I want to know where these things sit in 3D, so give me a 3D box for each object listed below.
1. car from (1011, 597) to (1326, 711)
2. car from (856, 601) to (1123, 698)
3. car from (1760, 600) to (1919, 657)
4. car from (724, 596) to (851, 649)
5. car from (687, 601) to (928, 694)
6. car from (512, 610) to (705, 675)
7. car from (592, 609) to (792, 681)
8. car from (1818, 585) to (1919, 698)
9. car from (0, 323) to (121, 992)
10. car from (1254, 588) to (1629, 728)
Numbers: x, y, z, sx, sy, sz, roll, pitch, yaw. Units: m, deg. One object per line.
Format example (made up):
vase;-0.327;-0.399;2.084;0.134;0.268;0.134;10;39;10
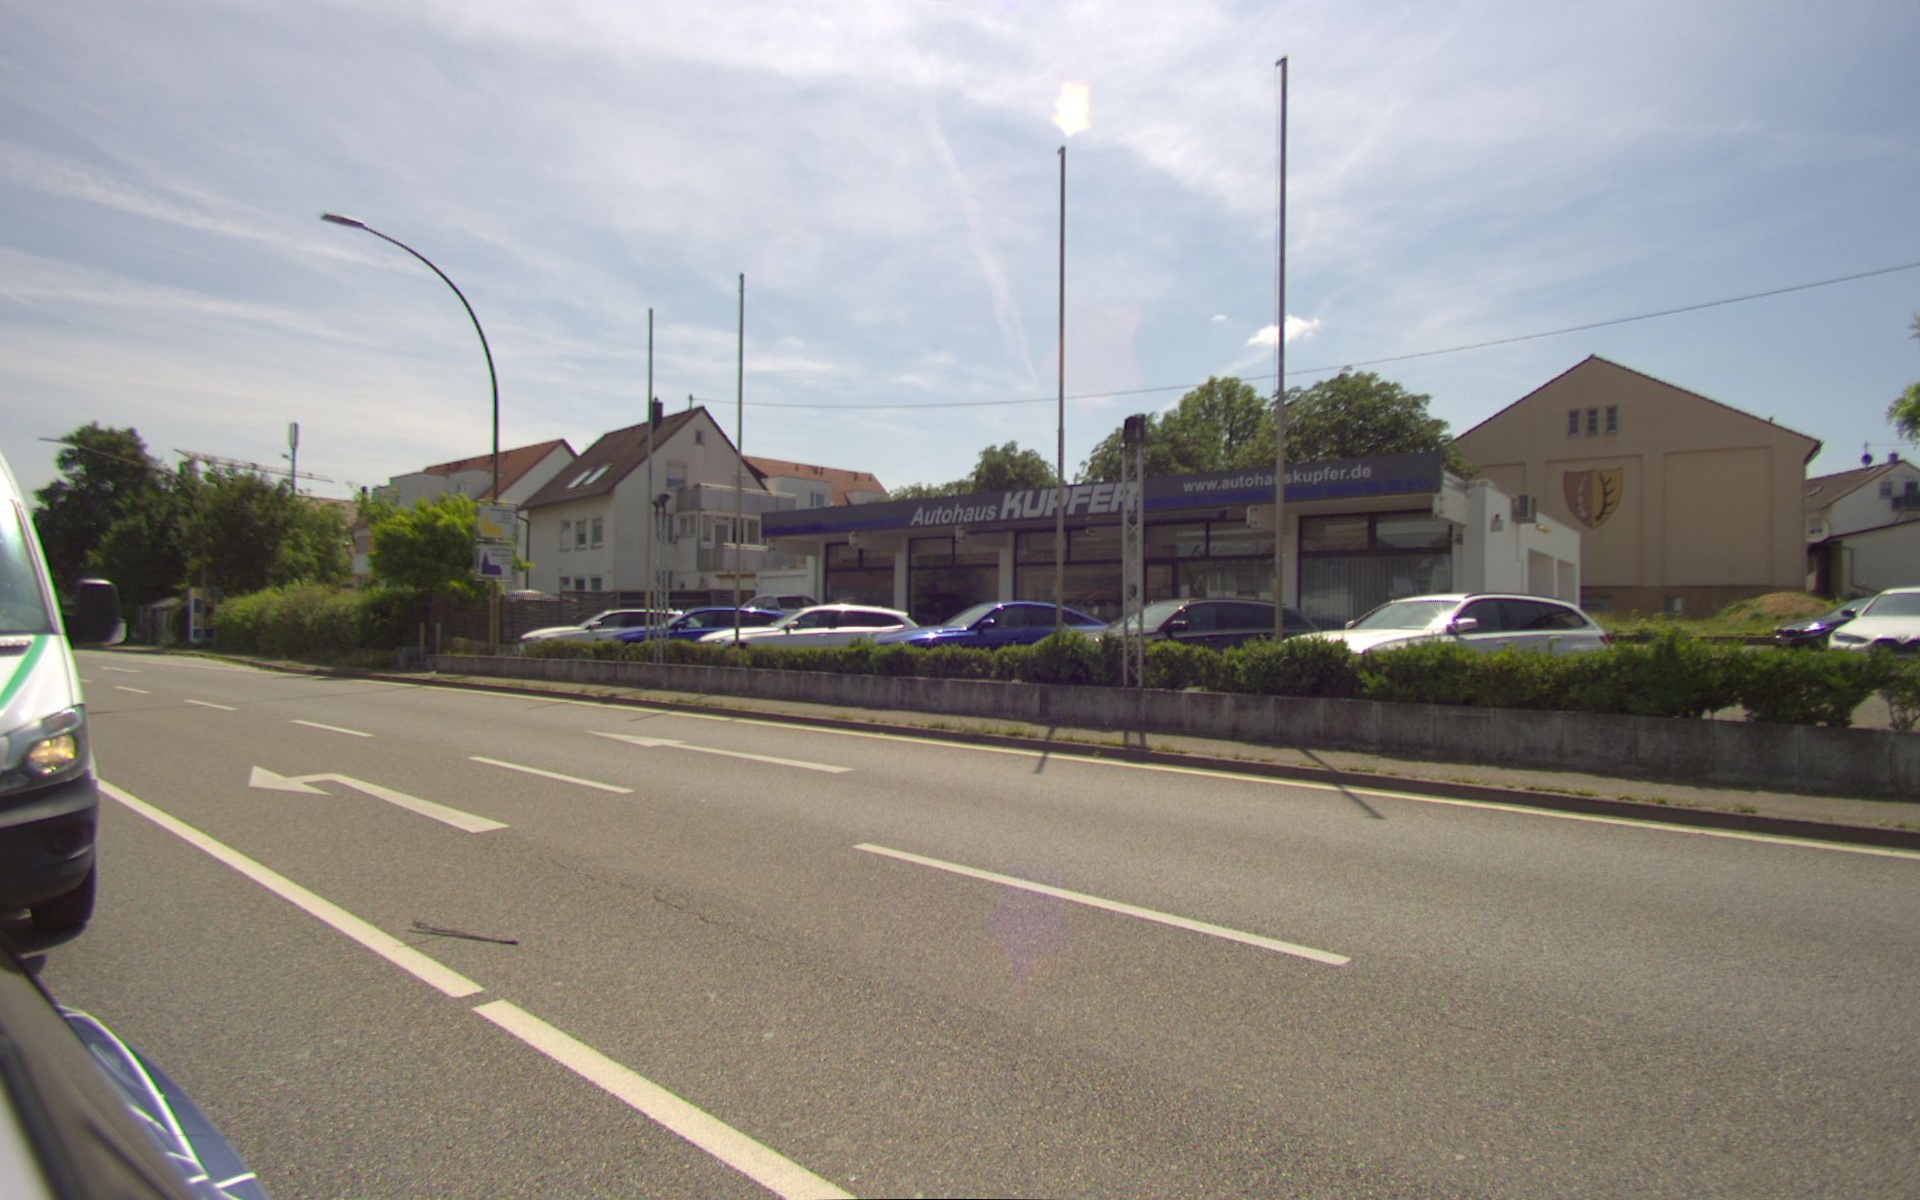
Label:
car;3.102;0.704;15.036;4.267;1.458;1.905;-1;1;-24
car;0.508;0.785;17.695;4.267;1.458;1.863;-1;1;-23
car;22.782;0.689;25.348;3.946;1.231;1.791;-2;0;2
car;-5.356;0.665;30.984;1.781;1.475;4.589;-1;0;-40
car;-3.070;0.878;20.290;4.438;1.458;1.863;-3;1;-19
car;-8.974;1.032;25.963;4.501;1.458;1.863;-1;0;-21
car;-6.179;0.976;23.320;4.267;1.458;1.863;-1;0;-21
car;14.370;0.532;14.834;3.934;1.521;1.839;-1;0;-36
car;-6.222;0.260;5.259;5.745;2.548;1.915;-1;-1;40
car;5.949;0.600;12.489;4.267;1.458;1.863;-1;1;-24
